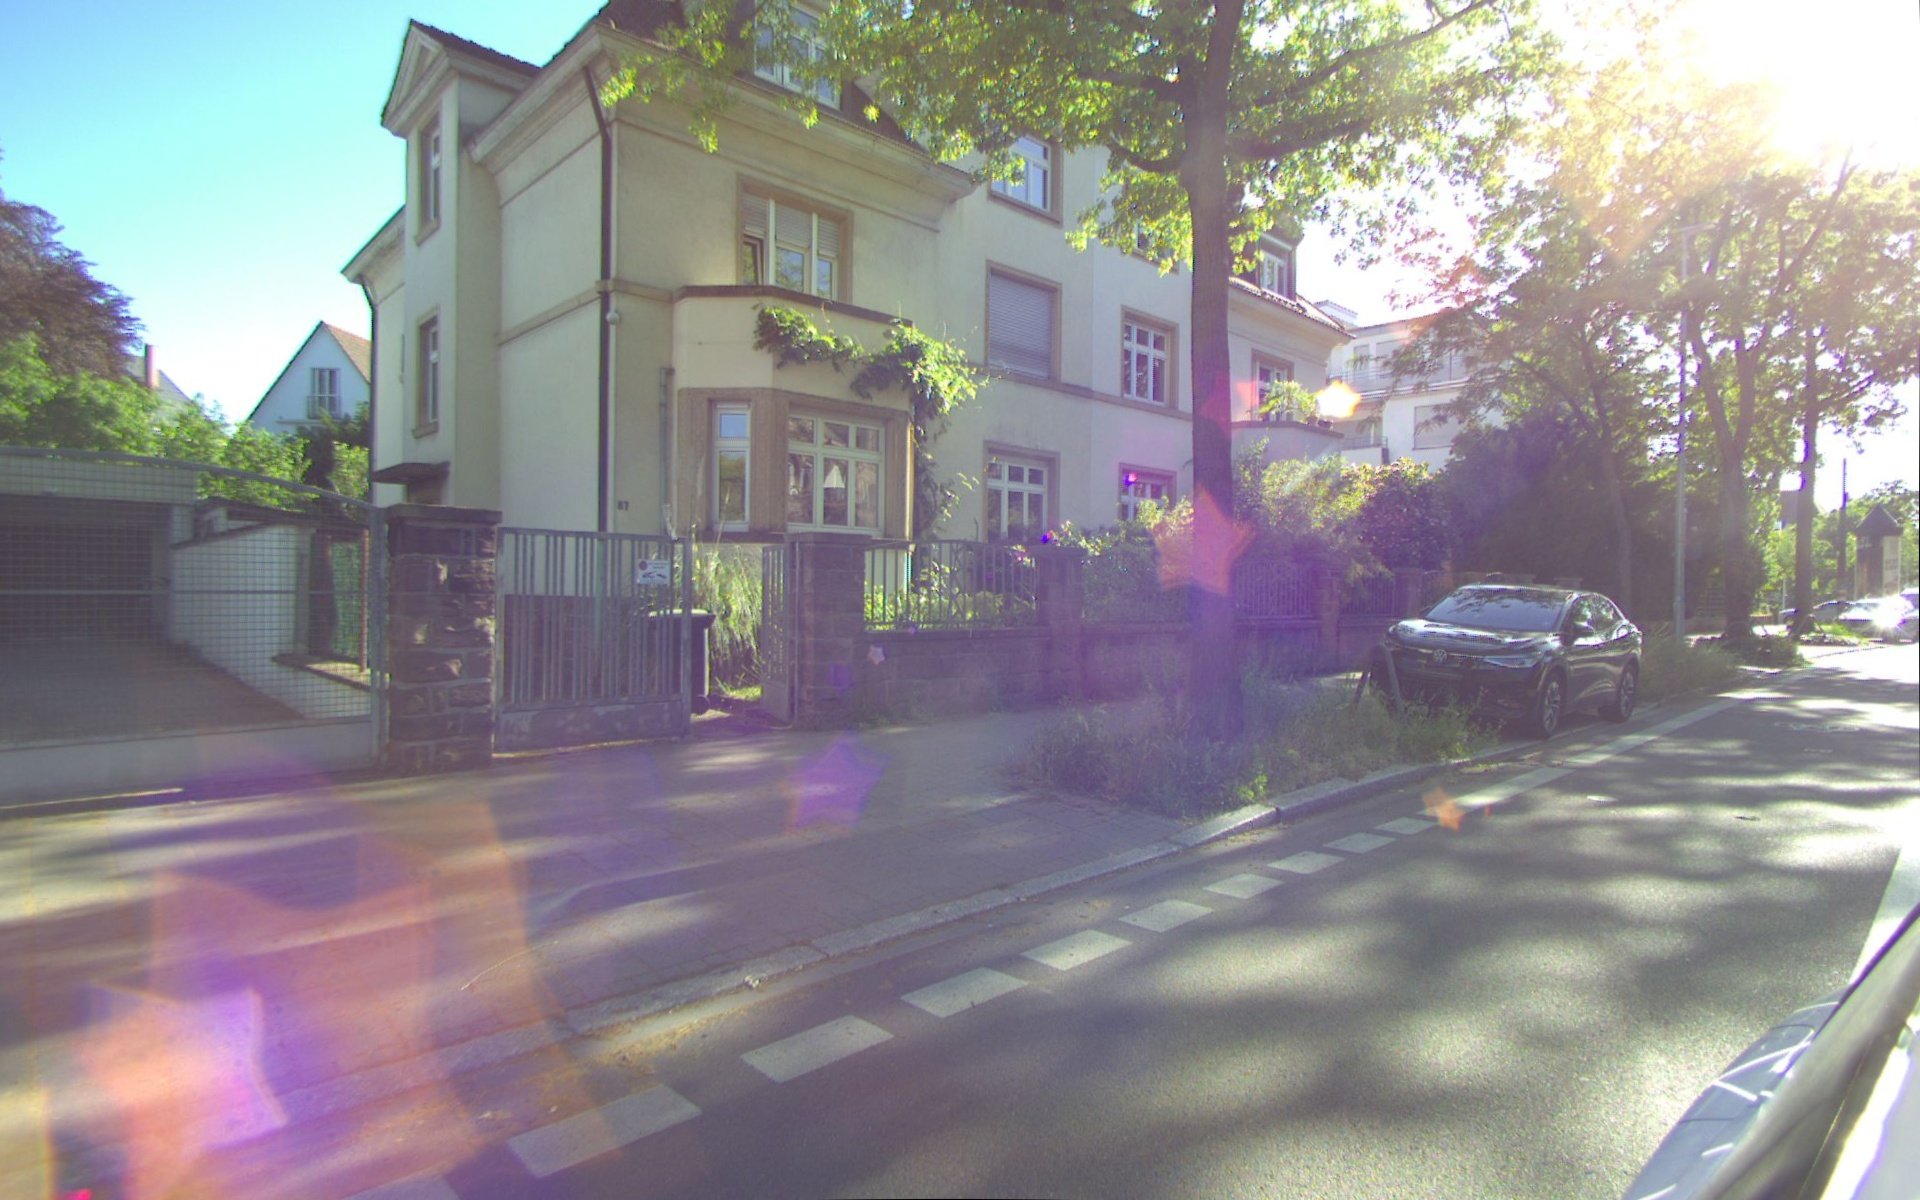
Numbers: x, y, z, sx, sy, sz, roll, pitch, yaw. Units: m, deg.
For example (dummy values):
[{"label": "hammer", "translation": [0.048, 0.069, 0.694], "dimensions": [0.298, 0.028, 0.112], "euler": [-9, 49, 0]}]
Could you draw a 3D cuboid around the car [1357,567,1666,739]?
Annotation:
[{"label": "car", "translation": [6.721, 0.498, 12.143], "dimensions": [4.186, 1.619, 1.917], "euler": [0, 4, -42]}]

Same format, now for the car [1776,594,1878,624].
[{"label": "car", "translation": [46.079, 0.457, 53.845], "dimensions": [1.784, 1.459, 3.990], "euler": [0, 1, -44]}]

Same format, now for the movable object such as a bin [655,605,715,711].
[{"label": "movable object such as a bin", "translation": [-2.911, 0.588, 10.678], "dimensions": [0.551, 1.062, 0.676], "euler": [0, 0, -20]}]

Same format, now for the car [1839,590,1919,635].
[{"label": "car", "translation": [31.524, 0.382, 34.279], "dimensions": [4.181, 1.427, 1.901], "euler": [0, 1, -38]}]

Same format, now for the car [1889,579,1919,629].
[{"label": "car", "translation": [36.684, 0.129, 37.861], "dimensions": [4.580, 1.808, 1.903], "euler": [0, 1, -35]}]
